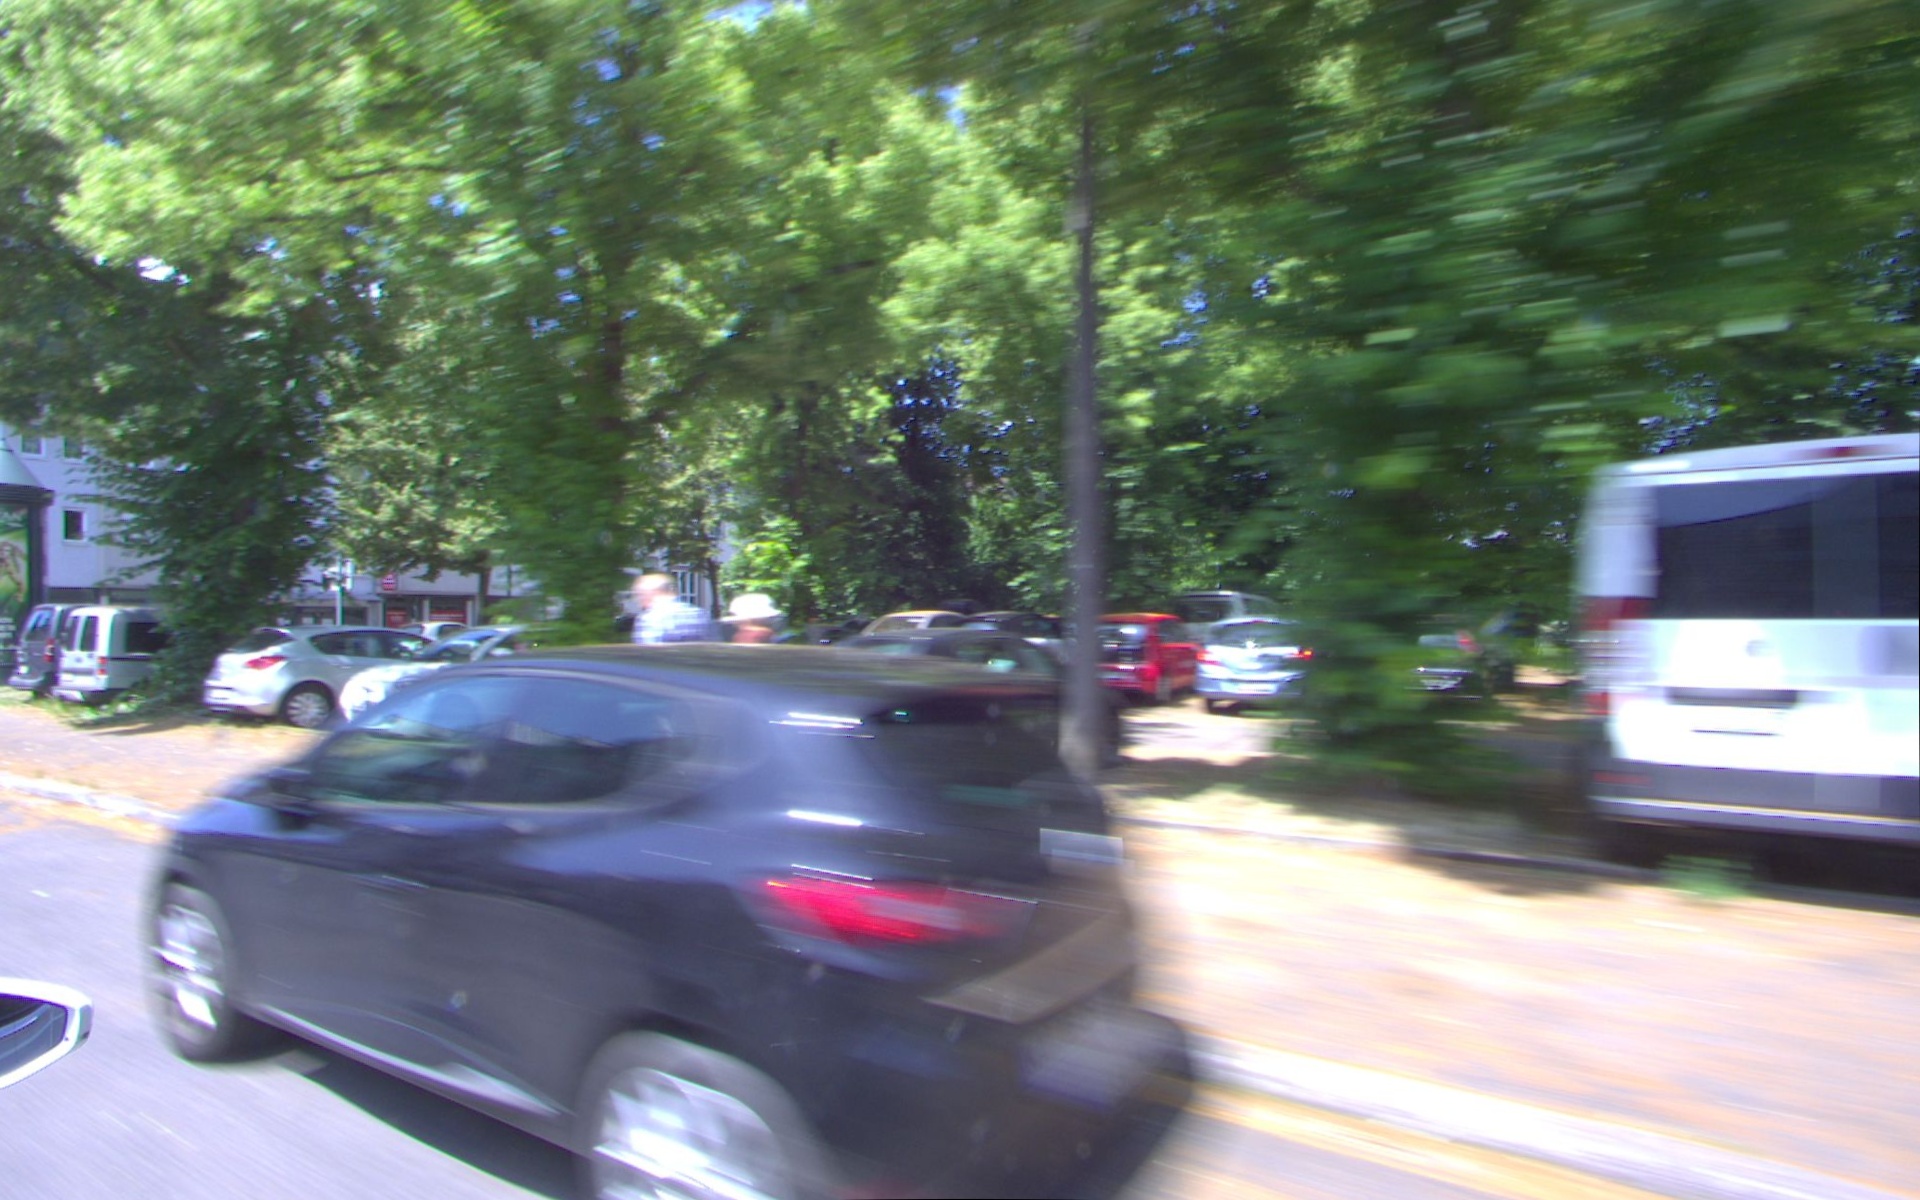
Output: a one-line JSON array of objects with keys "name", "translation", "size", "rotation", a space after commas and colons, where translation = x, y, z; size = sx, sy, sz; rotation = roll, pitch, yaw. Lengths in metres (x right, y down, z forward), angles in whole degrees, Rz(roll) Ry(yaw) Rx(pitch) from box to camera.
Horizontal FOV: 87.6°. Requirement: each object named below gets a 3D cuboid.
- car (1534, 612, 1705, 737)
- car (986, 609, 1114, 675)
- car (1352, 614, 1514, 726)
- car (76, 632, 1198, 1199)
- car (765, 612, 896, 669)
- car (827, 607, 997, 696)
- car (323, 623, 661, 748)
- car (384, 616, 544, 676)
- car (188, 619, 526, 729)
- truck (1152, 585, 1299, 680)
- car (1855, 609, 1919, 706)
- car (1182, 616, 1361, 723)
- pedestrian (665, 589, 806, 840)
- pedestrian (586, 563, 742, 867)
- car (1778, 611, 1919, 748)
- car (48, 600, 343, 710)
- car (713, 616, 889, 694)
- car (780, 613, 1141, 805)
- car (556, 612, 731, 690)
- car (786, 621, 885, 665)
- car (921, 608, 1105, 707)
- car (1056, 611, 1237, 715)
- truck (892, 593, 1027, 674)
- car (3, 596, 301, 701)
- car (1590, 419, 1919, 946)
[{"name": "car", "translation": [9.321, 0.937, 14.246], "size": [1.779, 1.492, 3.978], "rotation": [-1, -1, 33]}, {"name": "car", "translation": [2.267, 0.972, 24.384], "size": [1.712, 1.478, 3.793], "rotation": [-1, -1, 29]}, {"name": "car", "translation": [7.526, 0.990, 15.737], "size": [1.779, 1.492, 3.978], "rotation": [-1, -1, 33]}, {"name": "car", "translation": [-1.340, 0.845, 3.540], "size": [3.943, 1.446, 1.660], "rotation": [-1, -2, 33]}, {"name": "car", "translation": [-3.574, 1.094, 28.220], "size": [1.712, 1.478, 3.793], "rotation": [-1, -1, 30]}, {"name": "car", "translation": [-0.892, 0.995, 20.848], "size": [1.656, 1.662, 3.982], "rotation": [-1, -1, 30]}, {"name": "car", "translation": [-6.238, 1.047, 13.798], "size": [1.645, 1.446, 3.979], "rotation": [-1, -1, 32]}, {"name": "car", "translation": [-14.467, 1.297, 29.423], "size": [1.656, 1.574, 3.982], "rotation": [-1, -1, 30]}, {"name": "car", "translation": [-8.830, 1.036, 15.024], "size": [1.781, 1.416, 3.984], "rotation": [-1, -2, 30]}, {"name": "truck", "translation": [5.841, 0.669, 21.685], "size": [1.853, 1.838, 4.111], "rotation": [-1, -1, 34]}, {"name": "car", "translation": [16.487, 0.902, 16.765], "size": [1.714, 1.484, 3.788], "rotation": [-1, 0, 34]}, {"name": "car", "translation": [5.199, 1.032, 16.364], "size": [1.779, 1.492, 3.978], "rotation": [-1, -1, 33]}, {"name": "pedestrian", "translation": [-1.541, 0.754, 6.910], "size": [0.726, 1.613, 0.616], "rotation": [-1, -1, 31]}, {"name": "pedestrian", "translation": [-1.873, 0.694, 6.360], "size": [0.726, 1.787, 0.616], "rotation": [-1, -1, 31]}, {"name": "car", "translation": [11.805, 0.898, 12.696], "size": [1.779, 1.492, 3.978], "rotation": [-1, -1, 33]}, {"name": "car", "translation": [-13.110, 0.878, 17.416], "size": [1.637, 1.689, 3.762], "rotation": [-1, -1, 27]}, {"name": "car", "translation": [-3.348, 1.122, 21.805], "size": [1.656, 1.502, 3.982], "rotation": [-1, -1, 30]}, {"name": "car", "translation": [0.222, 0.963, 9.944], "size": [1.693, 1.491, 3.980], "rotation": [-1, -3, 33]}, {"name": "car", "translation": [-7.493, 1.153, 24.070], "size": [1.676, 1.701, 3.983], "rotation": [-1, -1, 28]}, {"name": "car", "translation": [-4.999, 1.699, 40.403], "size": [1.700, 1.689, 3.769], "rotation": [-2, -2, 43]}, {"name": "car", "translation": [1.133, 1.011, 19.295], "size": [1.779, 1.683, 3.978], "rotation": [-1, -1, 33]}, {"name": "car", "translation": [3.437, 1.020, 17.860], "size": [1.779, 1.607, 3.978], "rotation": [-1, -1, 33]}, {"name": "truck", "translation": [0.063, 0.827, 25.791], "size": [1.714, 1.906, 3.789], "rotation": [-1, -1, 33]}, {"name": "car", "translation": [-15.213, 0.901, 19.076], "size": [1.987, 1.773, 3.982], "rotation": [-1, -2, 31]}, {"name": "car", "translation": [5.289, 0.478, 6.417], "size": [2.076, 2.304, 4.597], "rotation": [0, -3, 32]}]
